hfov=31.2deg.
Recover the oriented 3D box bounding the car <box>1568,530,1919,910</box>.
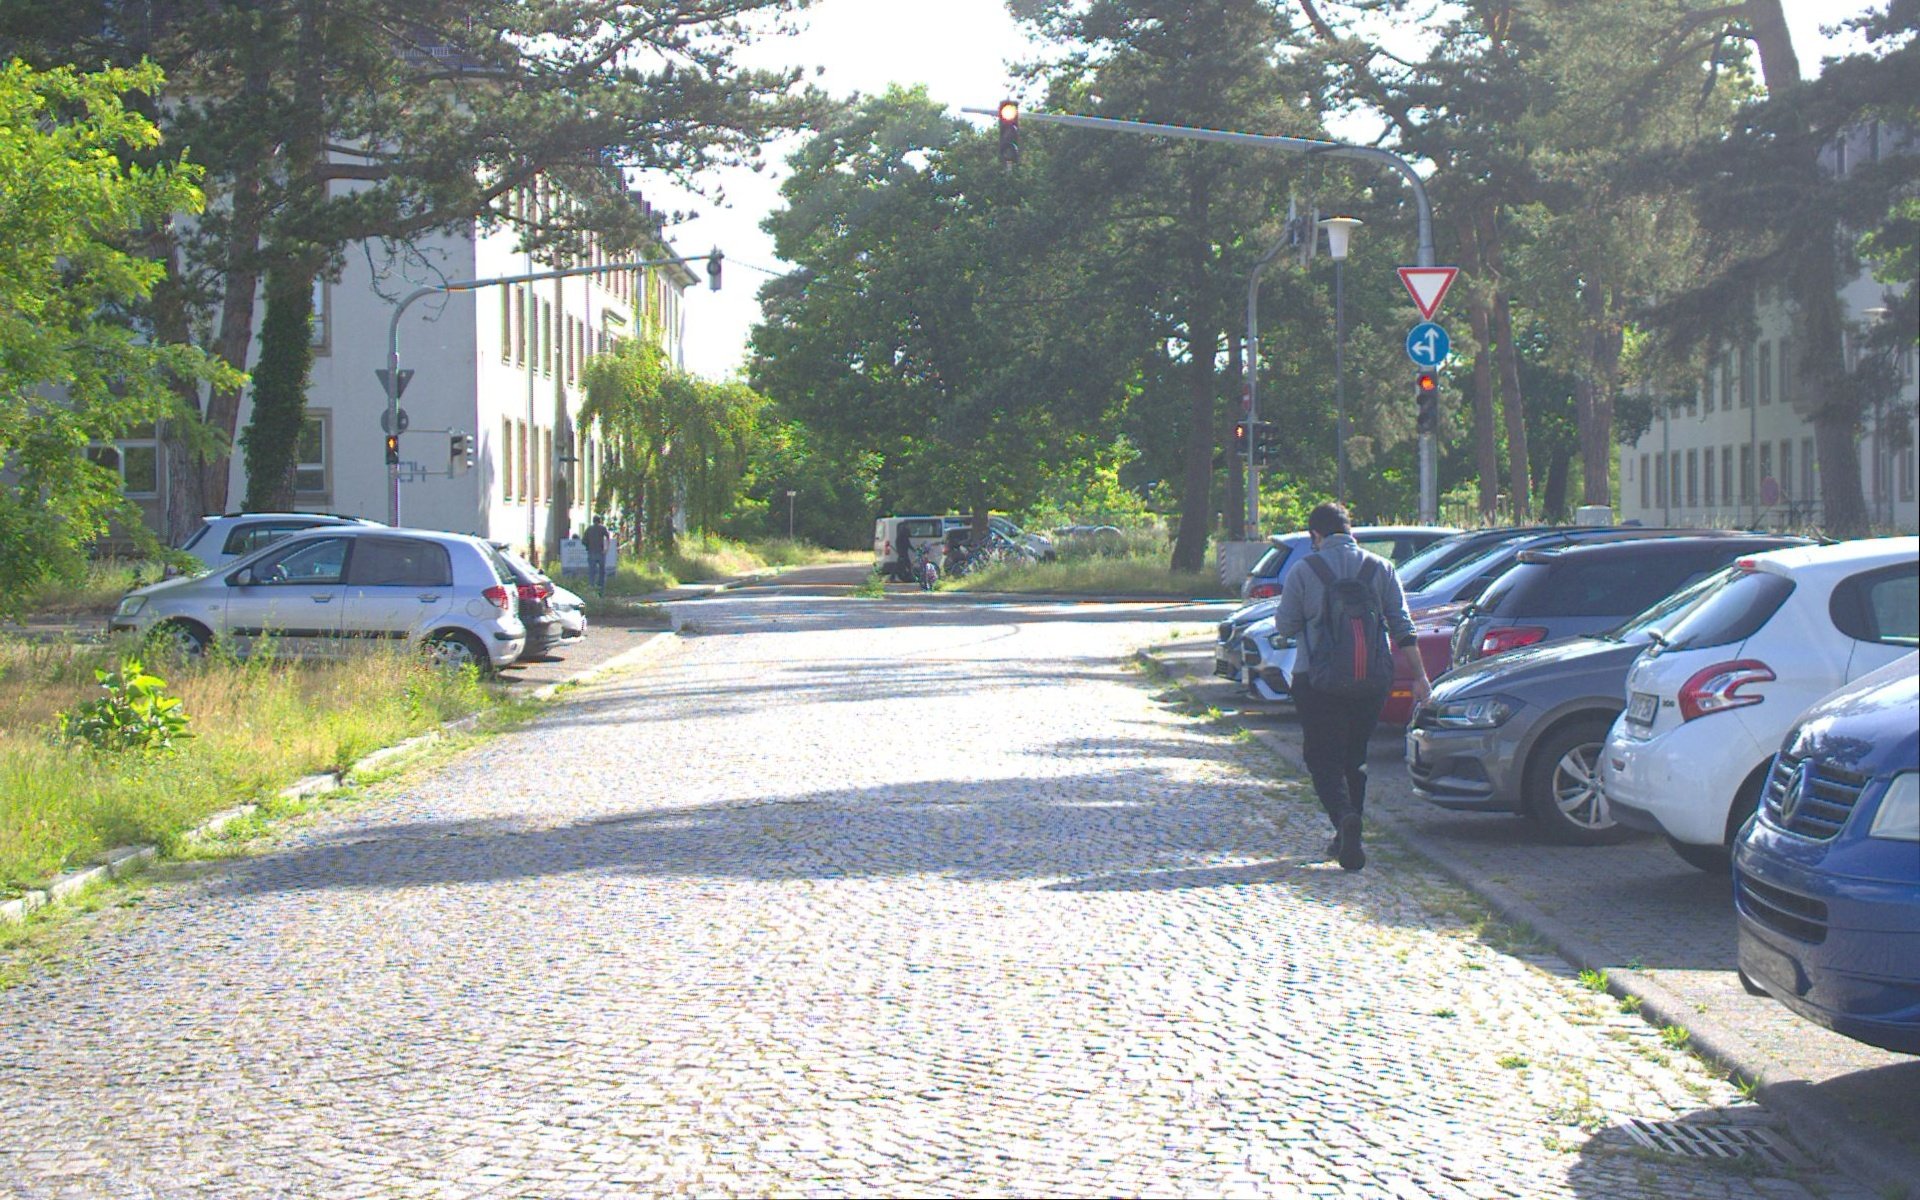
[{"bbox_3d":[4.529,0.453,14.465,3.645,1.487,1.634,-1,1,0],"label":"car"}]

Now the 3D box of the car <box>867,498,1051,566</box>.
[{"bbox_3d":[-0.051,-1.972,99.653,5.065,1.911,2.001,-1,1,-9],"label":"car"}]

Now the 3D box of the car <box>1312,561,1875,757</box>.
[{"bbox_3d":[4.149,0.371,22.864,3.460,1.238,1.536,0,1,0],"label":"car"}]

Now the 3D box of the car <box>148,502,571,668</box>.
[{"bbox_3d":[-5.999,-0.166,34.668,3.937,1.440,1.691,3,1,-1],"label":"car"}]

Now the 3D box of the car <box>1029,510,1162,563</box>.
[{"bbox_3d":[4.068,-1.911,103.599,3.743,1.574,1.742,0,1,-7],"label":"car"}]

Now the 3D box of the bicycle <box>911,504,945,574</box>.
[{"bbox_3d":[-0.735,-1.397,78.595,0.753,1.575,2.537,0,1,-1],"label":"bicycle"}]

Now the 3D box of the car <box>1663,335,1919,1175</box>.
[{"bbox_3d":[4.497,0.260,9.215,4.754,2.006,2.000,-2,1,0],"label":"car"}]

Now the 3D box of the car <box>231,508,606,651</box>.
[{"bbox_3d":[-6.283,-0.259,40.172,3.987,1.491,1.772,2,2,4],"label":"car"}]

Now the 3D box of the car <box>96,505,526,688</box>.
[{"bbox_3d":[-5.983,-0.051,32.004,3.685,1.522,1.699,2,1,-3],"label":"car"}]

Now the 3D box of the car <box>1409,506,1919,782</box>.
[{"bbox_3d":[4.618,0.218,20.289,3.663,1.450,1.667,-2,1,0],"label":"car"}]

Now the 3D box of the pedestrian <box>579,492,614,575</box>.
[{"bbox_3d":[-7.627,-1.400,72.143,0.606,1.746,0.630,0,1,-19],"label":"pedestrian"}]

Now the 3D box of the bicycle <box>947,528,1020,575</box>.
[{"bbox_3d":[0.560,-1.167,82.330,1.727,1.108,0.484,-1,1,-4],"label":"bicycle"}]

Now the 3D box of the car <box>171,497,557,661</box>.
[{"bbox_3d":[-6.425,-0.243,37.326,3.879,1.610,1.661,2,1,-1],"label":"car"}]

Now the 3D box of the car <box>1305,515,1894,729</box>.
[{"bbox_3d":[4.629,0.138,25.249,3.979,1.443,1.656,-1,1,-1],"label":"car"}]

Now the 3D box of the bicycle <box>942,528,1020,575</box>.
[{"bbox_3d":[0.497,-1.154,81.786,1.834,1.108,0.495,-1,1,-4],"label":"bicycle"}]

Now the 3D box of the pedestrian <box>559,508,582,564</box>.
[{"bbox_3d":[-10.851,-1.784,95.783,0.606,1.554,0.545,0,1,-7],"label":"pedestrian"}]

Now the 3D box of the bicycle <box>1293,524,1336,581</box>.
[{"bbox_3d":[7.215,-0.975,69.883,0.722,1.111,2.583,0,1,9],"label":"bicycle"}]

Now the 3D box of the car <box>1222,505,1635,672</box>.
[{"bbox_3d":[4.428,-0.129,32.844,3.673,1.438,1.665,-2,1,0],"label":"car"}]

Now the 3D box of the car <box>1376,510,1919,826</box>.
[{"bbox_3d":[4.106,0.296,17.394,3.781,1.445,1.758,-2,1,1],"label":"car"}]

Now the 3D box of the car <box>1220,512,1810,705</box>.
[{"bbox_3d":[4.394,0.045,27.666,4.399,1.384,1.789,-2,1,-1],"label":"car"}]

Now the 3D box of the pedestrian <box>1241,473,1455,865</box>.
[{"bbox_3d":[1.785,0.302,15.931,0.753,1.719,0.828,4,1,-1],"label":"pedestrian"}]

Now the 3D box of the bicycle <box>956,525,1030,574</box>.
[{"bbox_3d":[0.791,-1.220,83.010,1.727,1.160,0.561,-1,1,-4],"label":"bicycle"}]

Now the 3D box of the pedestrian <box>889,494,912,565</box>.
[{"bbox_3d":[-1.690,-2.010,97.811,0.594,2.007,0.572,0,1,2],"label":"pedestrian"}]

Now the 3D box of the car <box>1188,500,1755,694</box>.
[{"bbox_3d":[4.441,-0.053,30.307,4.619,1.450,1.870,-3,2,-2],"label":"car"}]
